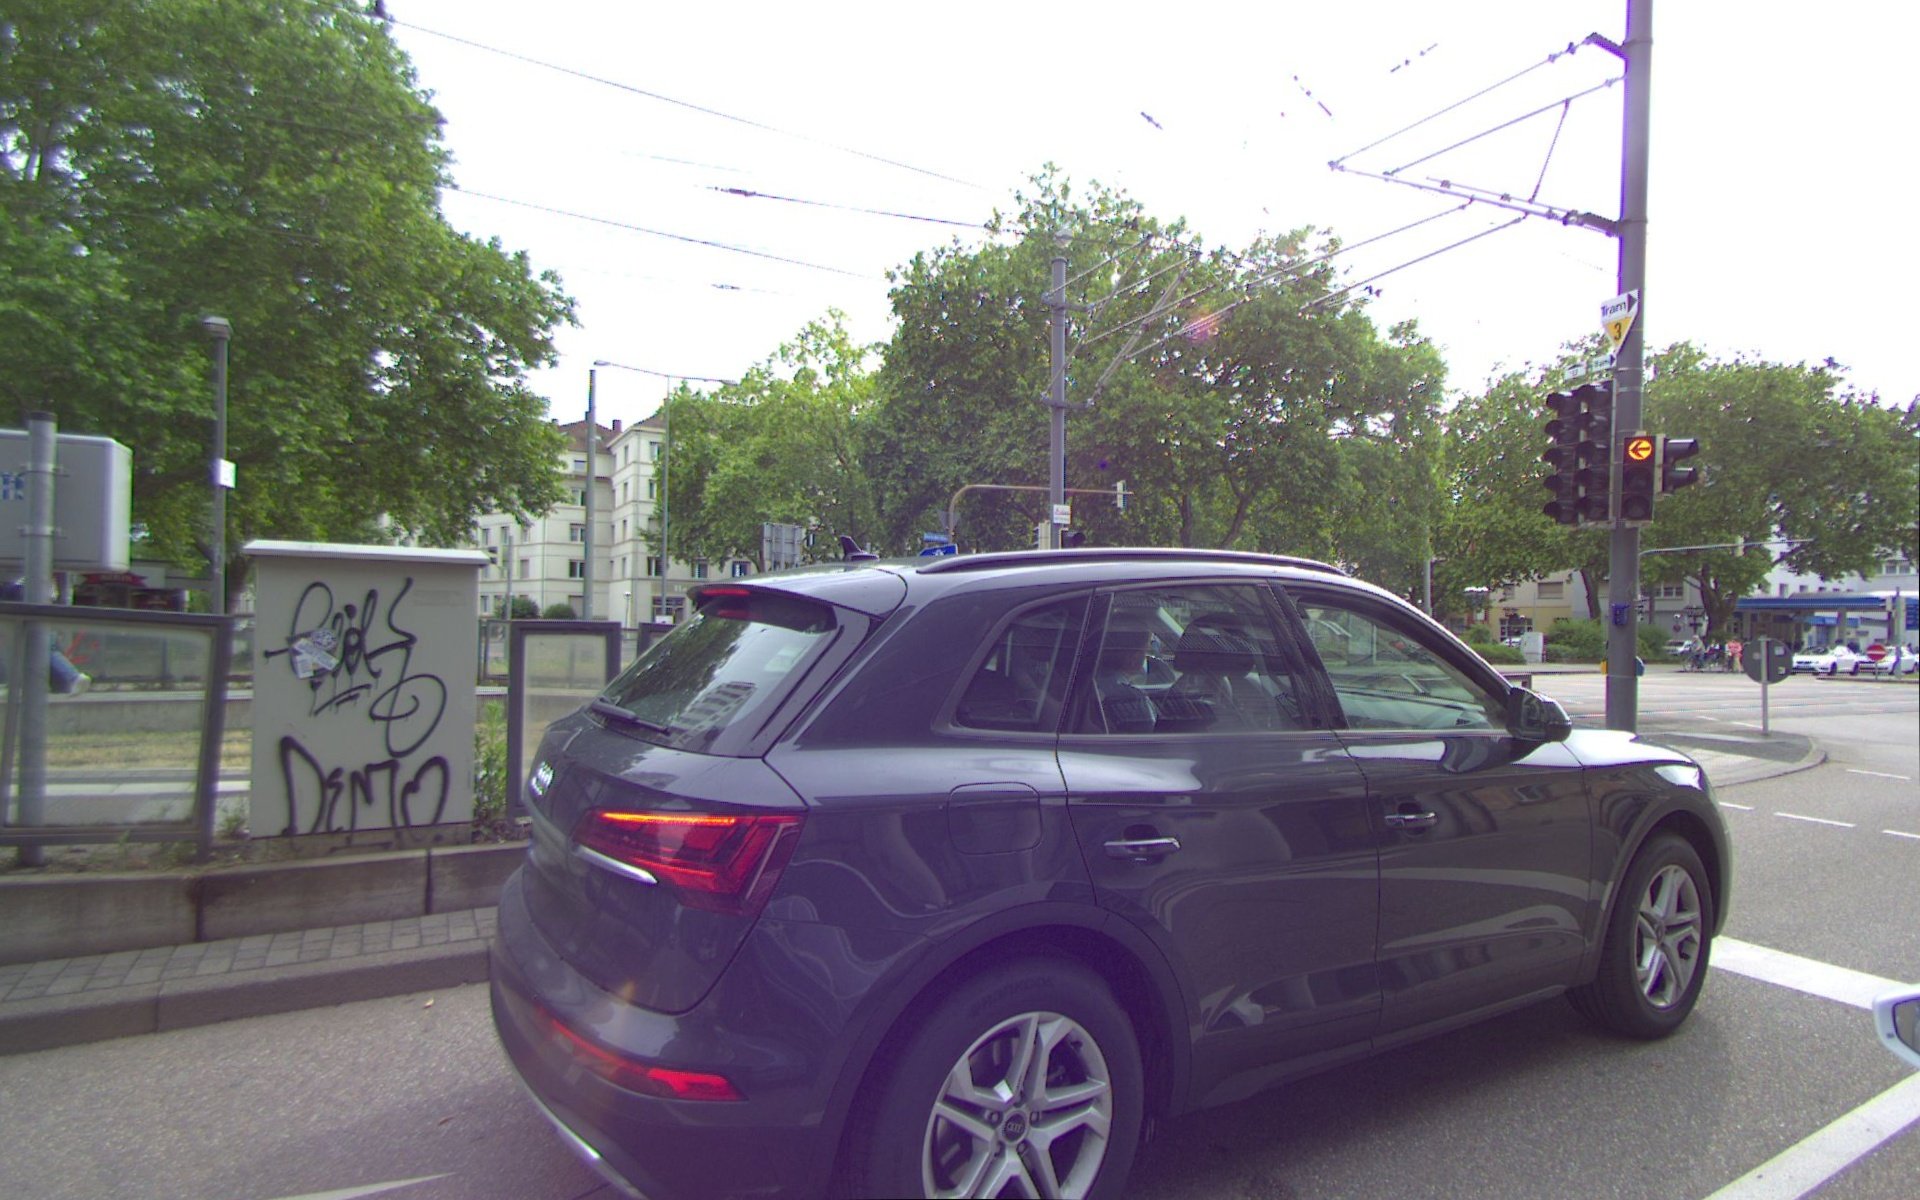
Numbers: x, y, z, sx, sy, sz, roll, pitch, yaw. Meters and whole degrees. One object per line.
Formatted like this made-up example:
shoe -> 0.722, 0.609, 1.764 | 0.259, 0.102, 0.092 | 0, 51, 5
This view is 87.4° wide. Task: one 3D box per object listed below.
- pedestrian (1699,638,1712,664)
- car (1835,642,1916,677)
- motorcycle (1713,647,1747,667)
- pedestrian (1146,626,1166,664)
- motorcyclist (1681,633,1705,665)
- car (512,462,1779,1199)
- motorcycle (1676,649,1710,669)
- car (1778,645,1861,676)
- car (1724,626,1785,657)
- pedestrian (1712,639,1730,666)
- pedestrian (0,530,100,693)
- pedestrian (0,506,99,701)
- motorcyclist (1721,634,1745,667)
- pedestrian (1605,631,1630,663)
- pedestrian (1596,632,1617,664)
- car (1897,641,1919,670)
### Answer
pedestrian -> 42.868, 2.938, 57.737 | 0.421, 1.479, 0.474 | 2, -1, -30
car -> 46.986, 3.021, 51.530 | 3.953, 1.615, 1.984 | 2, 0, -30
motorcycle -> 36.990, 2.743, 48.218 | 1.928, 0.941, 0.604 | 2, -1, -30
pedestrian -> 8.009, 1.844, 41.063 | 0.644, 1.530, 0.683 | 1, -1, -3
motorcyclist -> 35.736, 2.370, 48.966 | 0.863, 1.540, 0.617 | 2, -1, -30
car -> 0.835, 0.652, 3.467 | 4.177, 1.658, 1.725 | 2, 0, -30
motorcycle -> 35.772, 2.855, 48.999 | 1.928, 0.941, 0.604 | 2, -1, -30
car -> 41.376, 2.908, 48.339 | 4.025, 1.338, 1.739 | 2, 0, -29
car -> 54.690, 2.881, 69.149 | 3.953, 2.040, 1.984 | 2, -1, -30
pedestrian -> 43.412, 2.972, 57.317 | 0.550, 1.499, 0.644 | 2, -1, -30
pedestrian -> -10.304, 0.127, 11.397 | 0.658, 1.773, 0.732 | 2, 0, -30
pedestrian -> -9.677, 0.038, 10.648 | 0.658, 1.976, 0.732 | 2, 0, -30
motorcyclist -> 37.215, 2.426, 48.348 | 0.863, 1.540, 0.617 | 2, -1, -30
pedestrian -> 36.271, 2.583, 55.418 | 0.858, 1.735, 0.875 | 1, -1, 12
pedestrian -> 35.727, 2.640, 55.529 | 0.677, 1.735, 0.870 | 1, -1, 6
car -> 52.790, 3.033, 54.612 | 3.593, 1.497, 1.649 | 2, 0, -29
